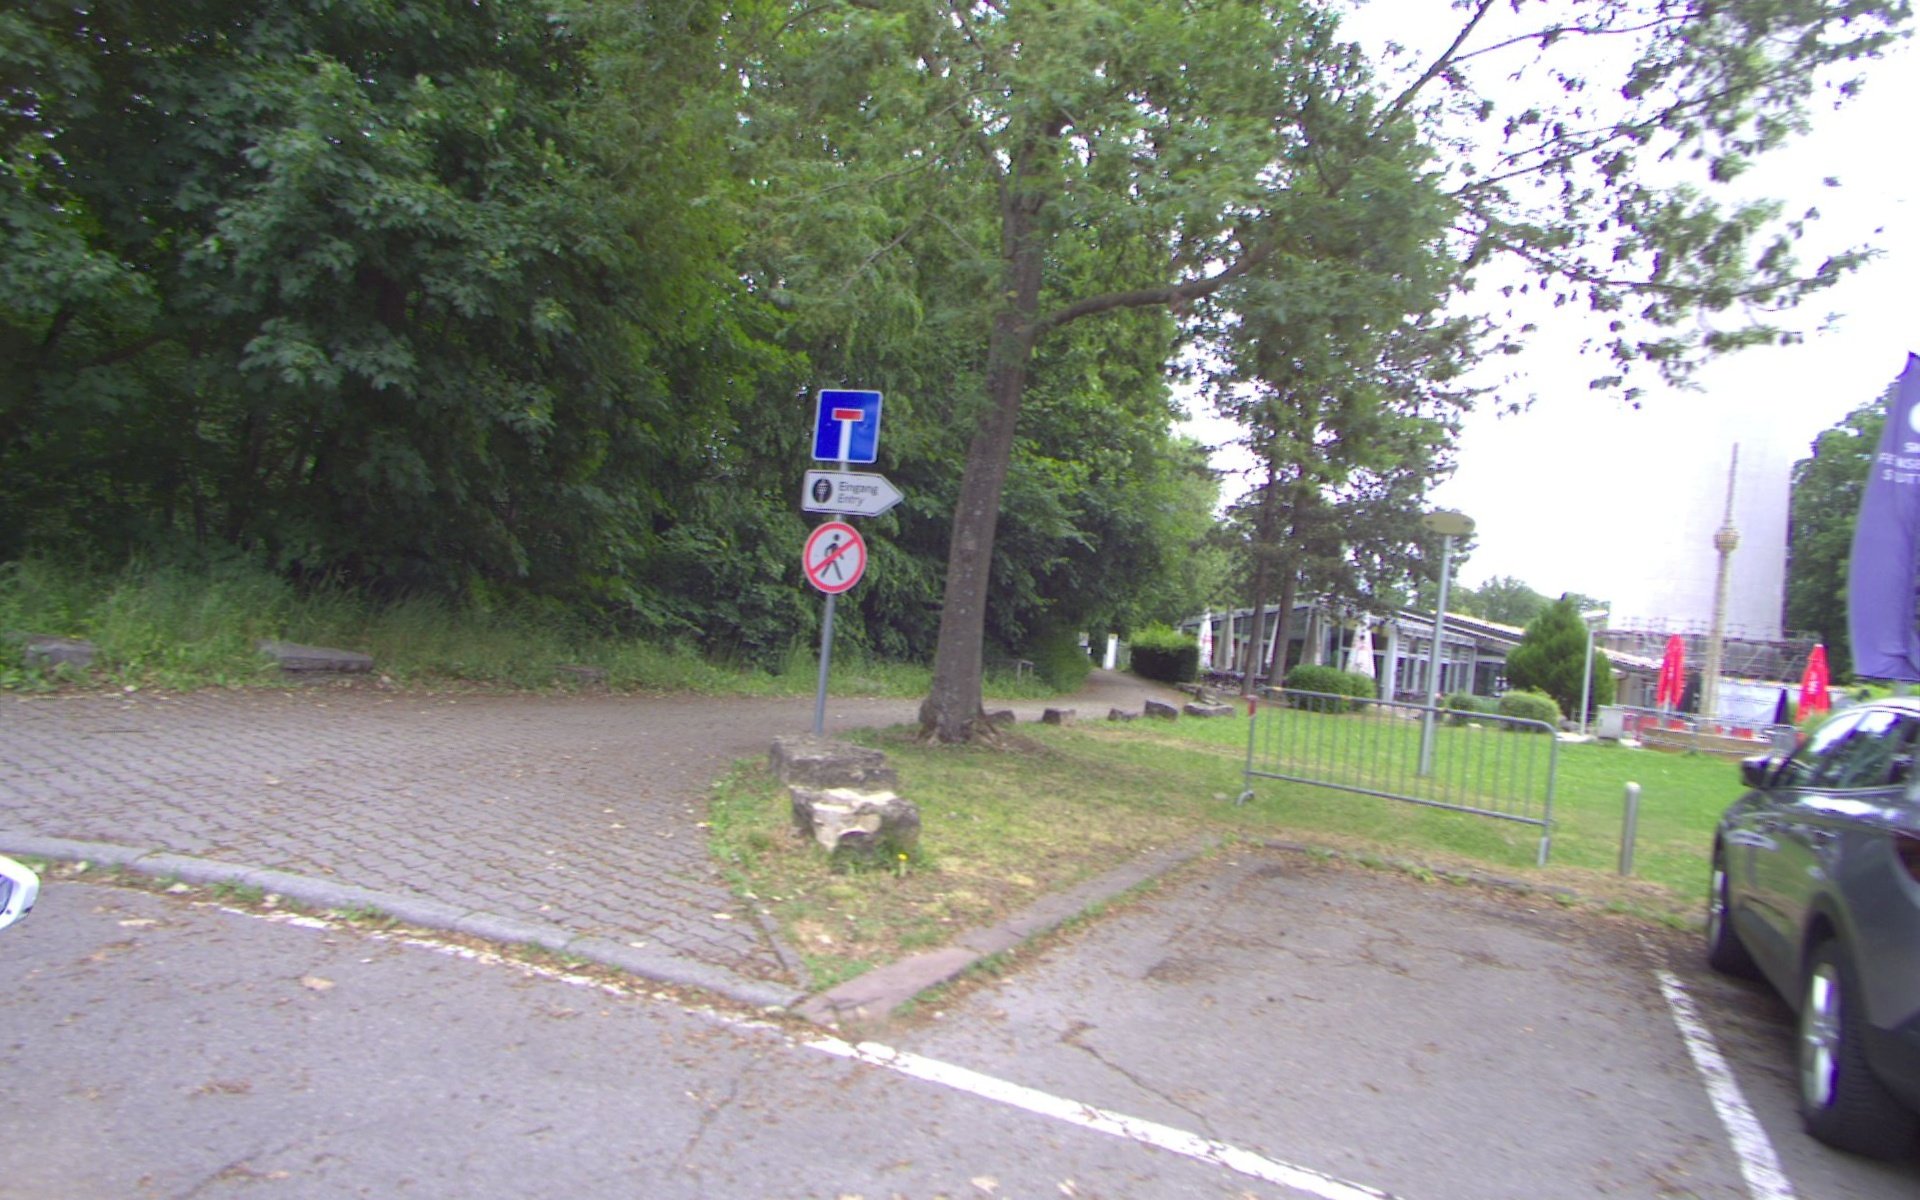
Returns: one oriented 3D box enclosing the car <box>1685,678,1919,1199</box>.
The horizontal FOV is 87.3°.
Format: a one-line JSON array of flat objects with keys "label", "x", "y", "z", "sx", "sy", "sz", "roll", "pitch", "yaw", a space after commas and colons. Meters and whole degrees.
[{"label": "car", "x": 4.402, "y": 1.264, "z": 4.108, "sx": 1.868, "sy": 1.604, "sz": 3.993, "roll": 6, "pitch": -1, "yaw": 31}]
